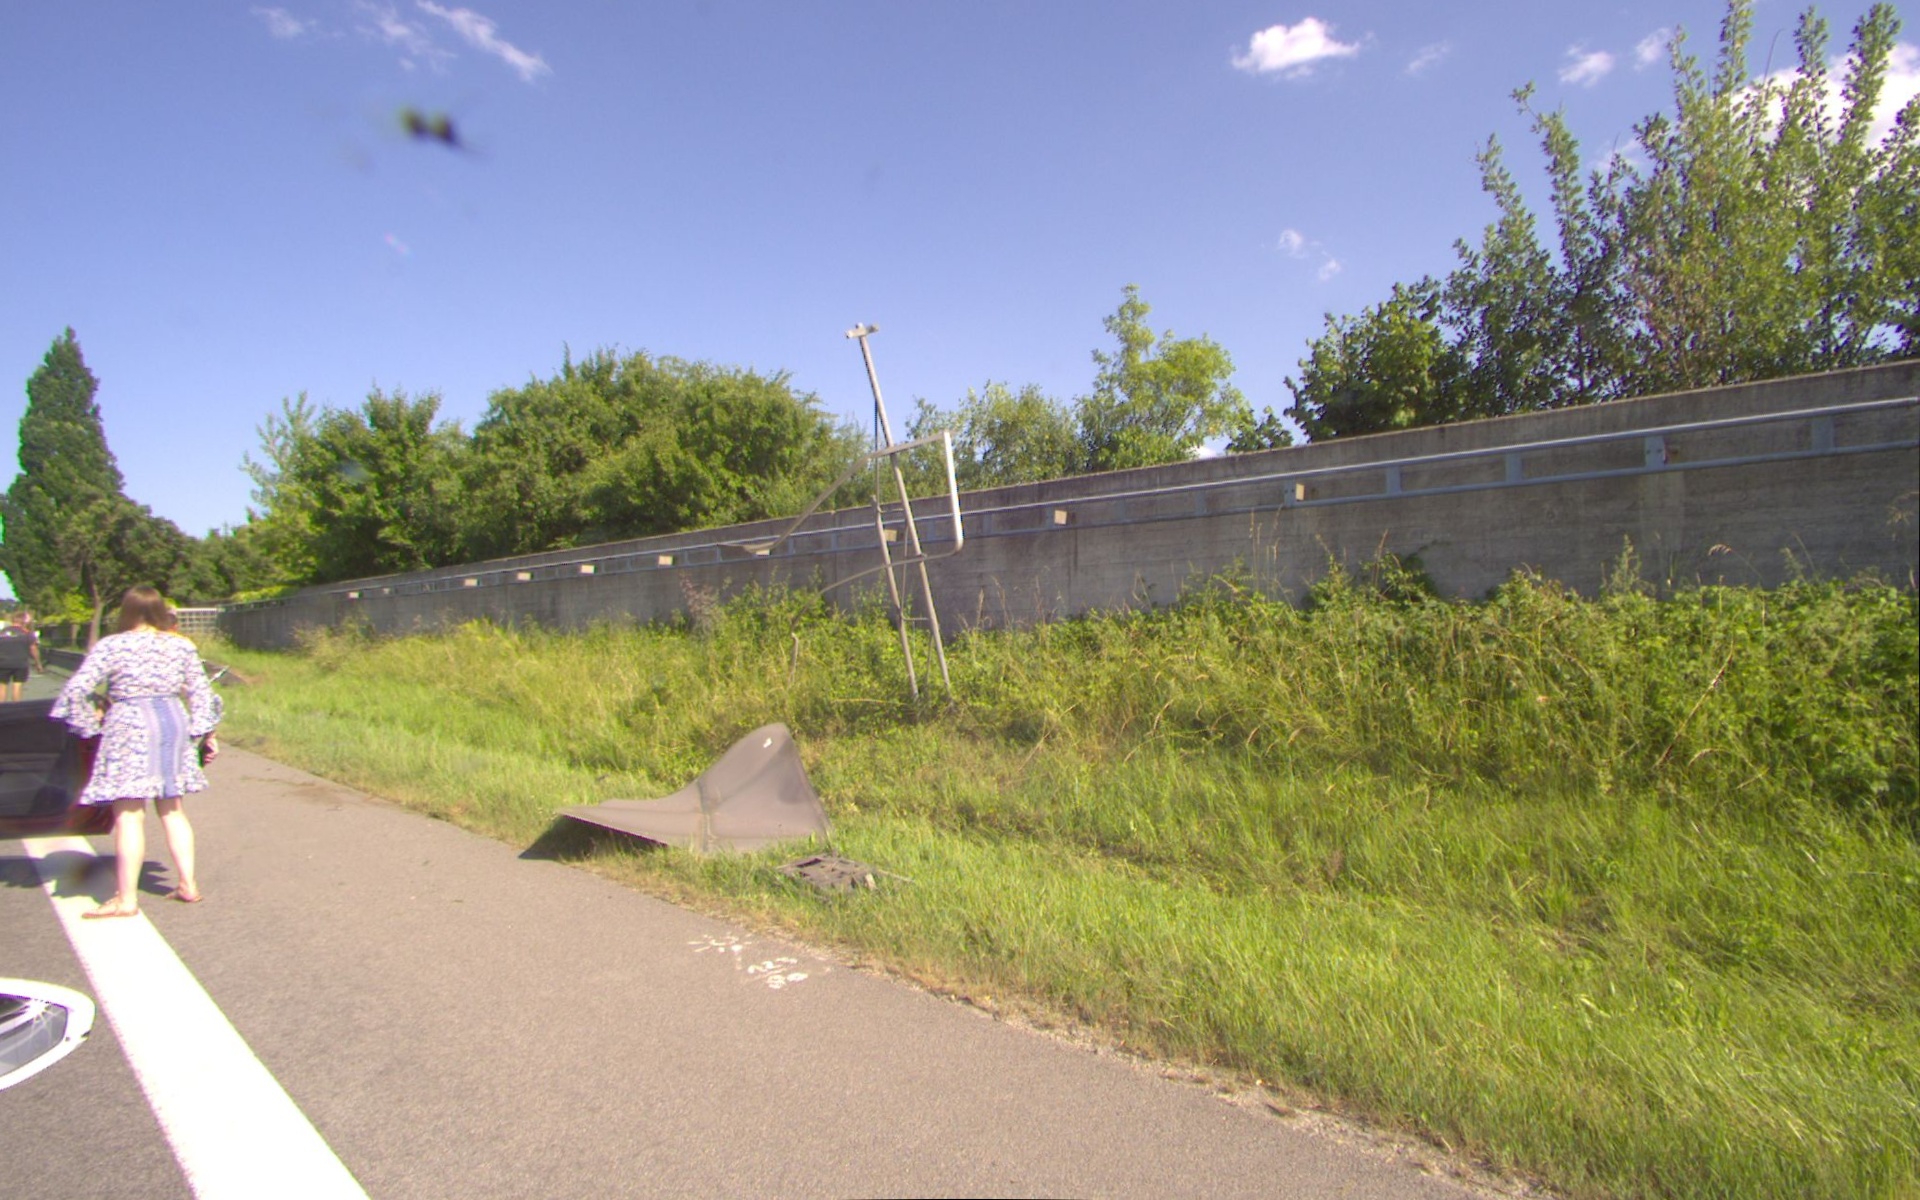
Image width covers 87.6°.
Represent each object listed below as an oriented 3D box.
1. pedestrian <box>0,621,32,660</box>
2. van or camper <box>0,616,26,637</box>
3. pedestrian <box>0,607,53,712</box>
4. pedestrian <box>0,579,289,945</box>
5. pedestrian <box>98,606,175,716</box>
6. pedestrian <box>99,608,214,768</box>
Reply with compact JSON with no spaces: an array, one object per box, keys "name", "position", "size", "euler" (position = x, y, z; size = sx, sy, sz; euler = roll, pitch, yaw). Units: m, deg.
[{"name":"pedestrian","position":[-41.346,1.762,43.657],"size":[0.983,1.711,1.007],"euler":[1,-2,-23]},{"name":"van or camper","position":[-108.938,3.048,114.570],"size":[1.971,2.345,4.450],"euler":[1,-2,-29]},{"name":"pedestrian","position":[-16.319,1.021,17.373],"size":[0.806,1.782,0.821],"euler":[1,-2,-41]},{"name":"pedestrian","position":[-4.375,0.773,5.372],"size":[1.112,1.718,0.888],"euler":[-1,0,31]},{"name":"pedestrian","position":[-13.570,0.994,16.502],"size":[0.889,1.747,0.747],"euler":[2,-2,-45]},{"name":"pedestrian","position":[-9.030,0.932,11.294],"size":[0.949,1.675,1.268],"euler":[-1,0,-38]}]
